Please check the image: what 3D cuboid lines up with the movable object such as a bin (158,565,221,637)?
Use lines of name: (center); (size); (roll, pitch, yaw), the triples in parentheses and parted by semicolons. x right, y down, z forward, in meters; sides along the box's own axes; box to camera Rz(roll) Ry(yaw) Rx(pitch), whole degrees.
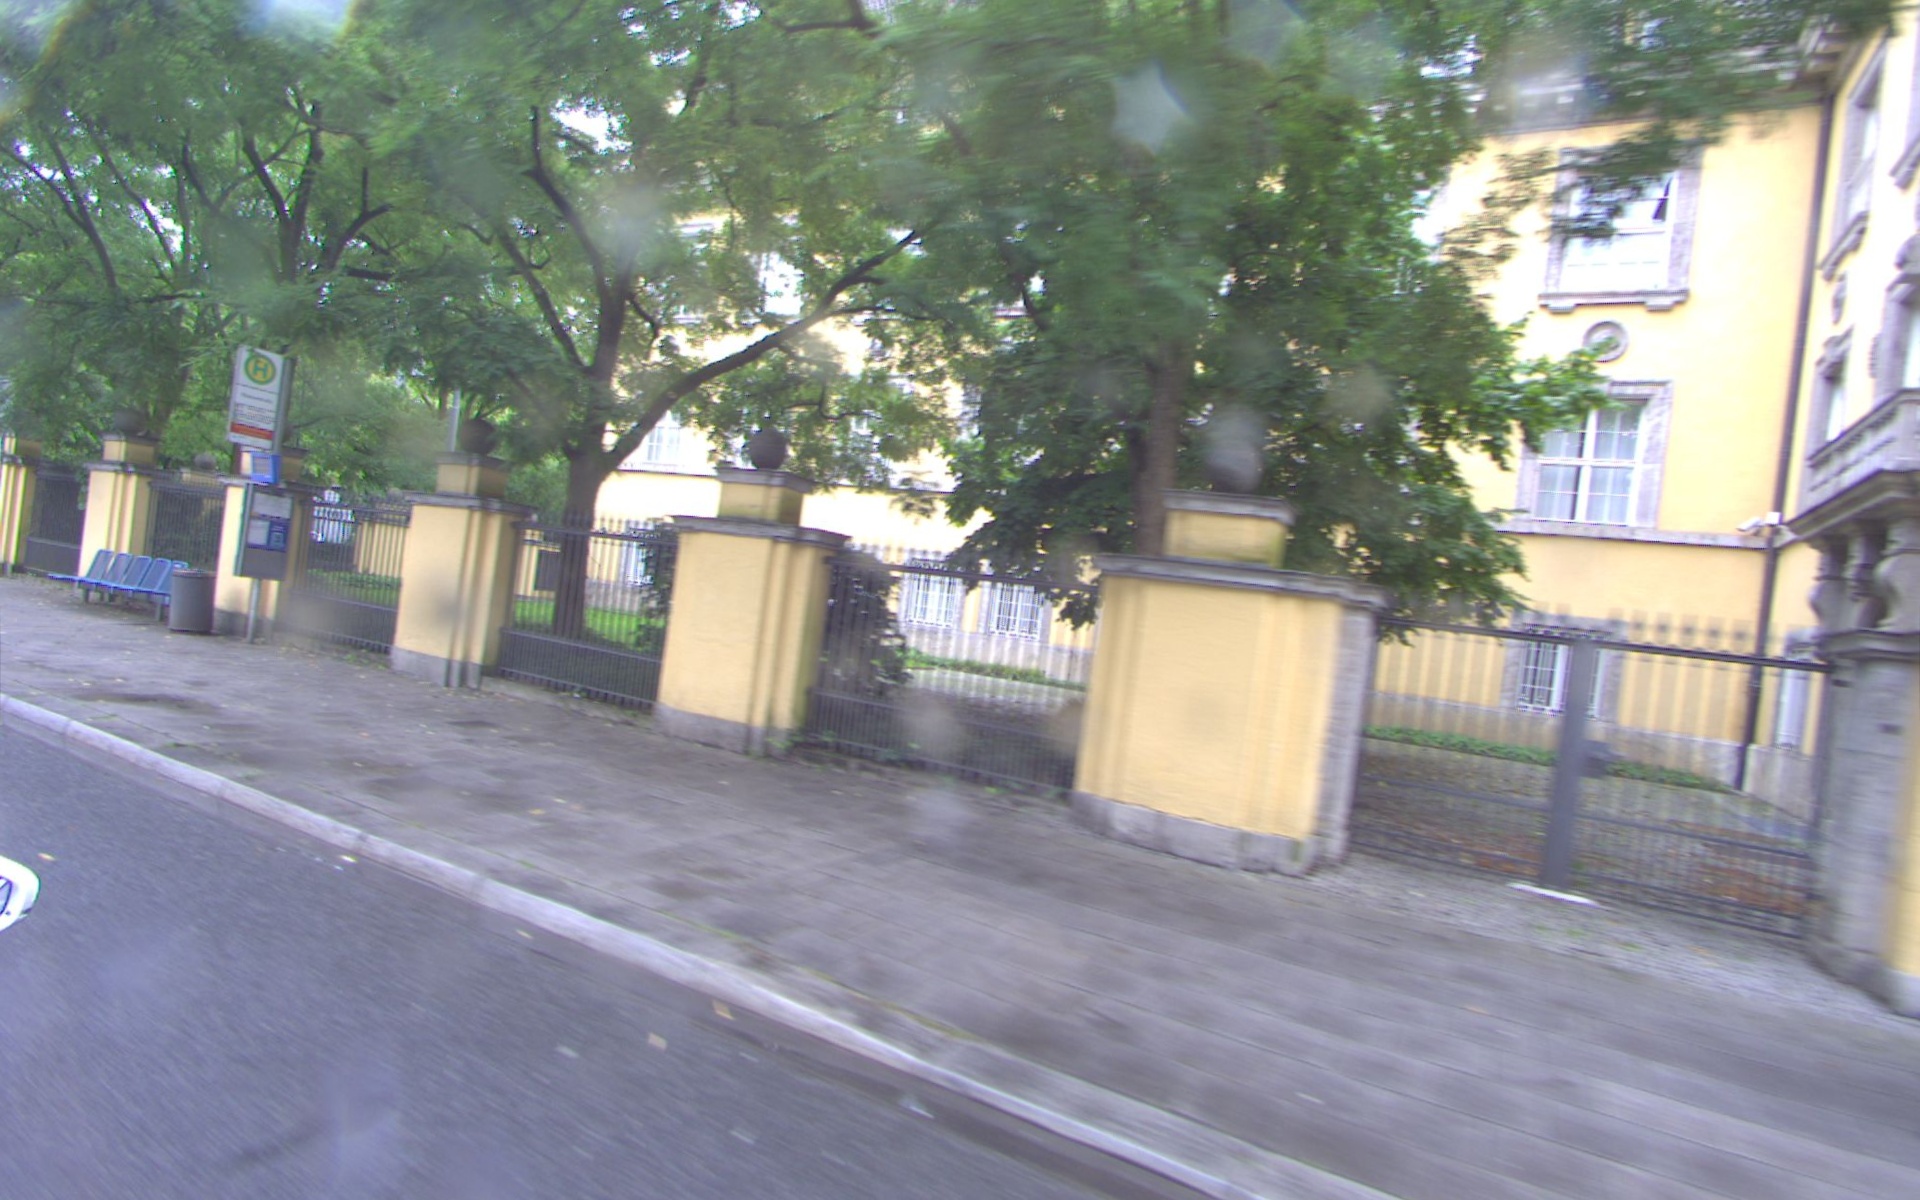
movable object such as a bin: (-9.169, 0.014, 11.974); (0.457, 0.790, 0.397); (7, 0, 32)
